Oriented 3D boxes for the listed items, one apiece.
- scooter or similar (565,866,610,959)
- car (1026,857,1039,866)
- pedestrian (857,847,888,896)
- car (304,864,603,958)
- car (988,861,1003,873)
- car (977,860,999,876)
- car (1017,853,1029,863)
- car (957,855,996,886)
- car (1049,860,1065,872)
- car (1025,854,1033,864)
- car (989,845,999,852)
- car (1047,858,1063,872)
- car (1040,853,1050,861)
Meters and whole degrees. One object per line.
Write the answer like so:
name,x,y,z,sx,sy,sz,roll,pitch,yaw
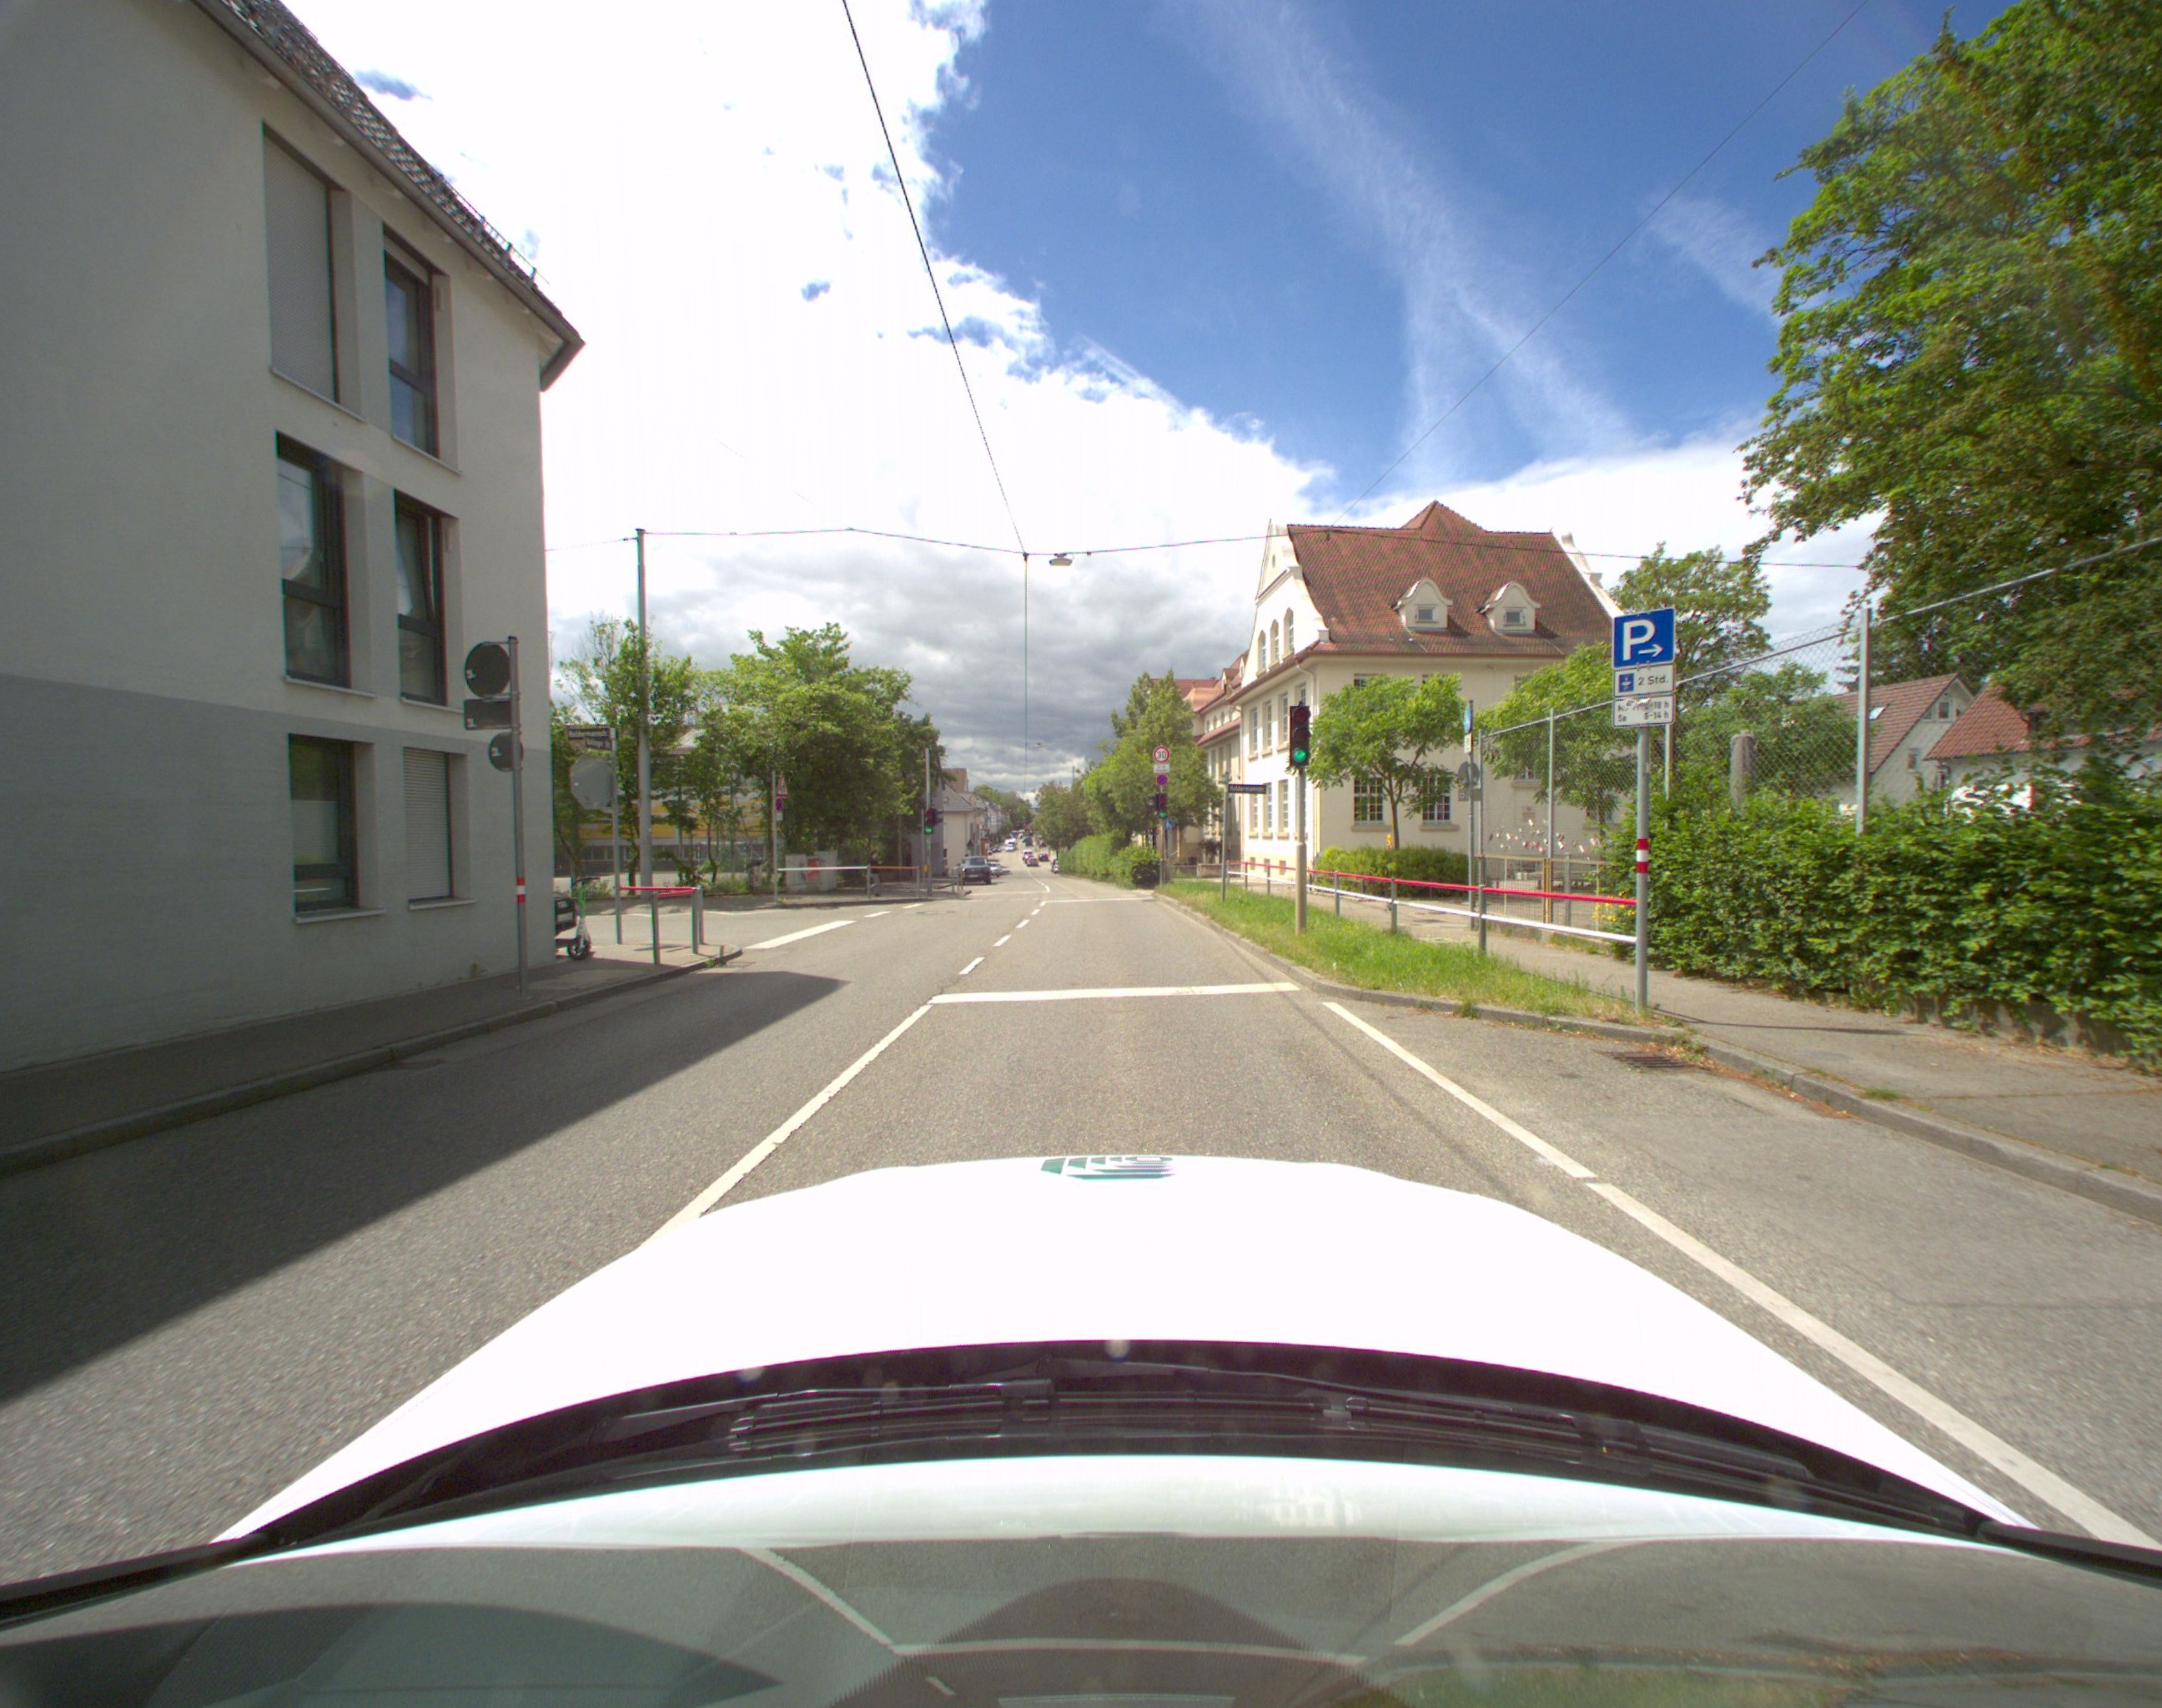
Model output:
scooter or similar,-7.194,0.818,11.911,0.492,1.261,1.295,-1,0,-29
car,-7.957,1.151,133.323,1.742,1.417,3.991,-1,0,-7
pedestrian,-6.902,0.574,26.995,0.777,1.597,0.664,0,0,-40
car,-11.499,1.001,15.198,3.980,1.476,1.856,-1,2,-5
car,-10.165,1.578,97.255,1.644,1.419,3.692,0,0,-5
car,-9.065,1.334,79.206,1.699,1.390,3.850,-1,1,-12
car,-10.887,0.777,152.164,1.836,1.862,3.839,0,0,-9
car,-5.873,0.882,46.094,1.791,1.610,4.641,-1,0,-3
car,-3.021,1.480,102.413,1.783,1.509,4.357,0,0,-4
car,-9.156,0.878,143.023,1.273,1.527,3.042,-1,3,-8
car,-20.062,-1.229,187.907,1.868,1.640,3.997,1,0,-2
car,-3.500,1.419,108.353,1.841,1.768,4.507,0,0,-4
car,-6.643,0.514,149.173,1.749,1.371,3.995,-1,0,-3
